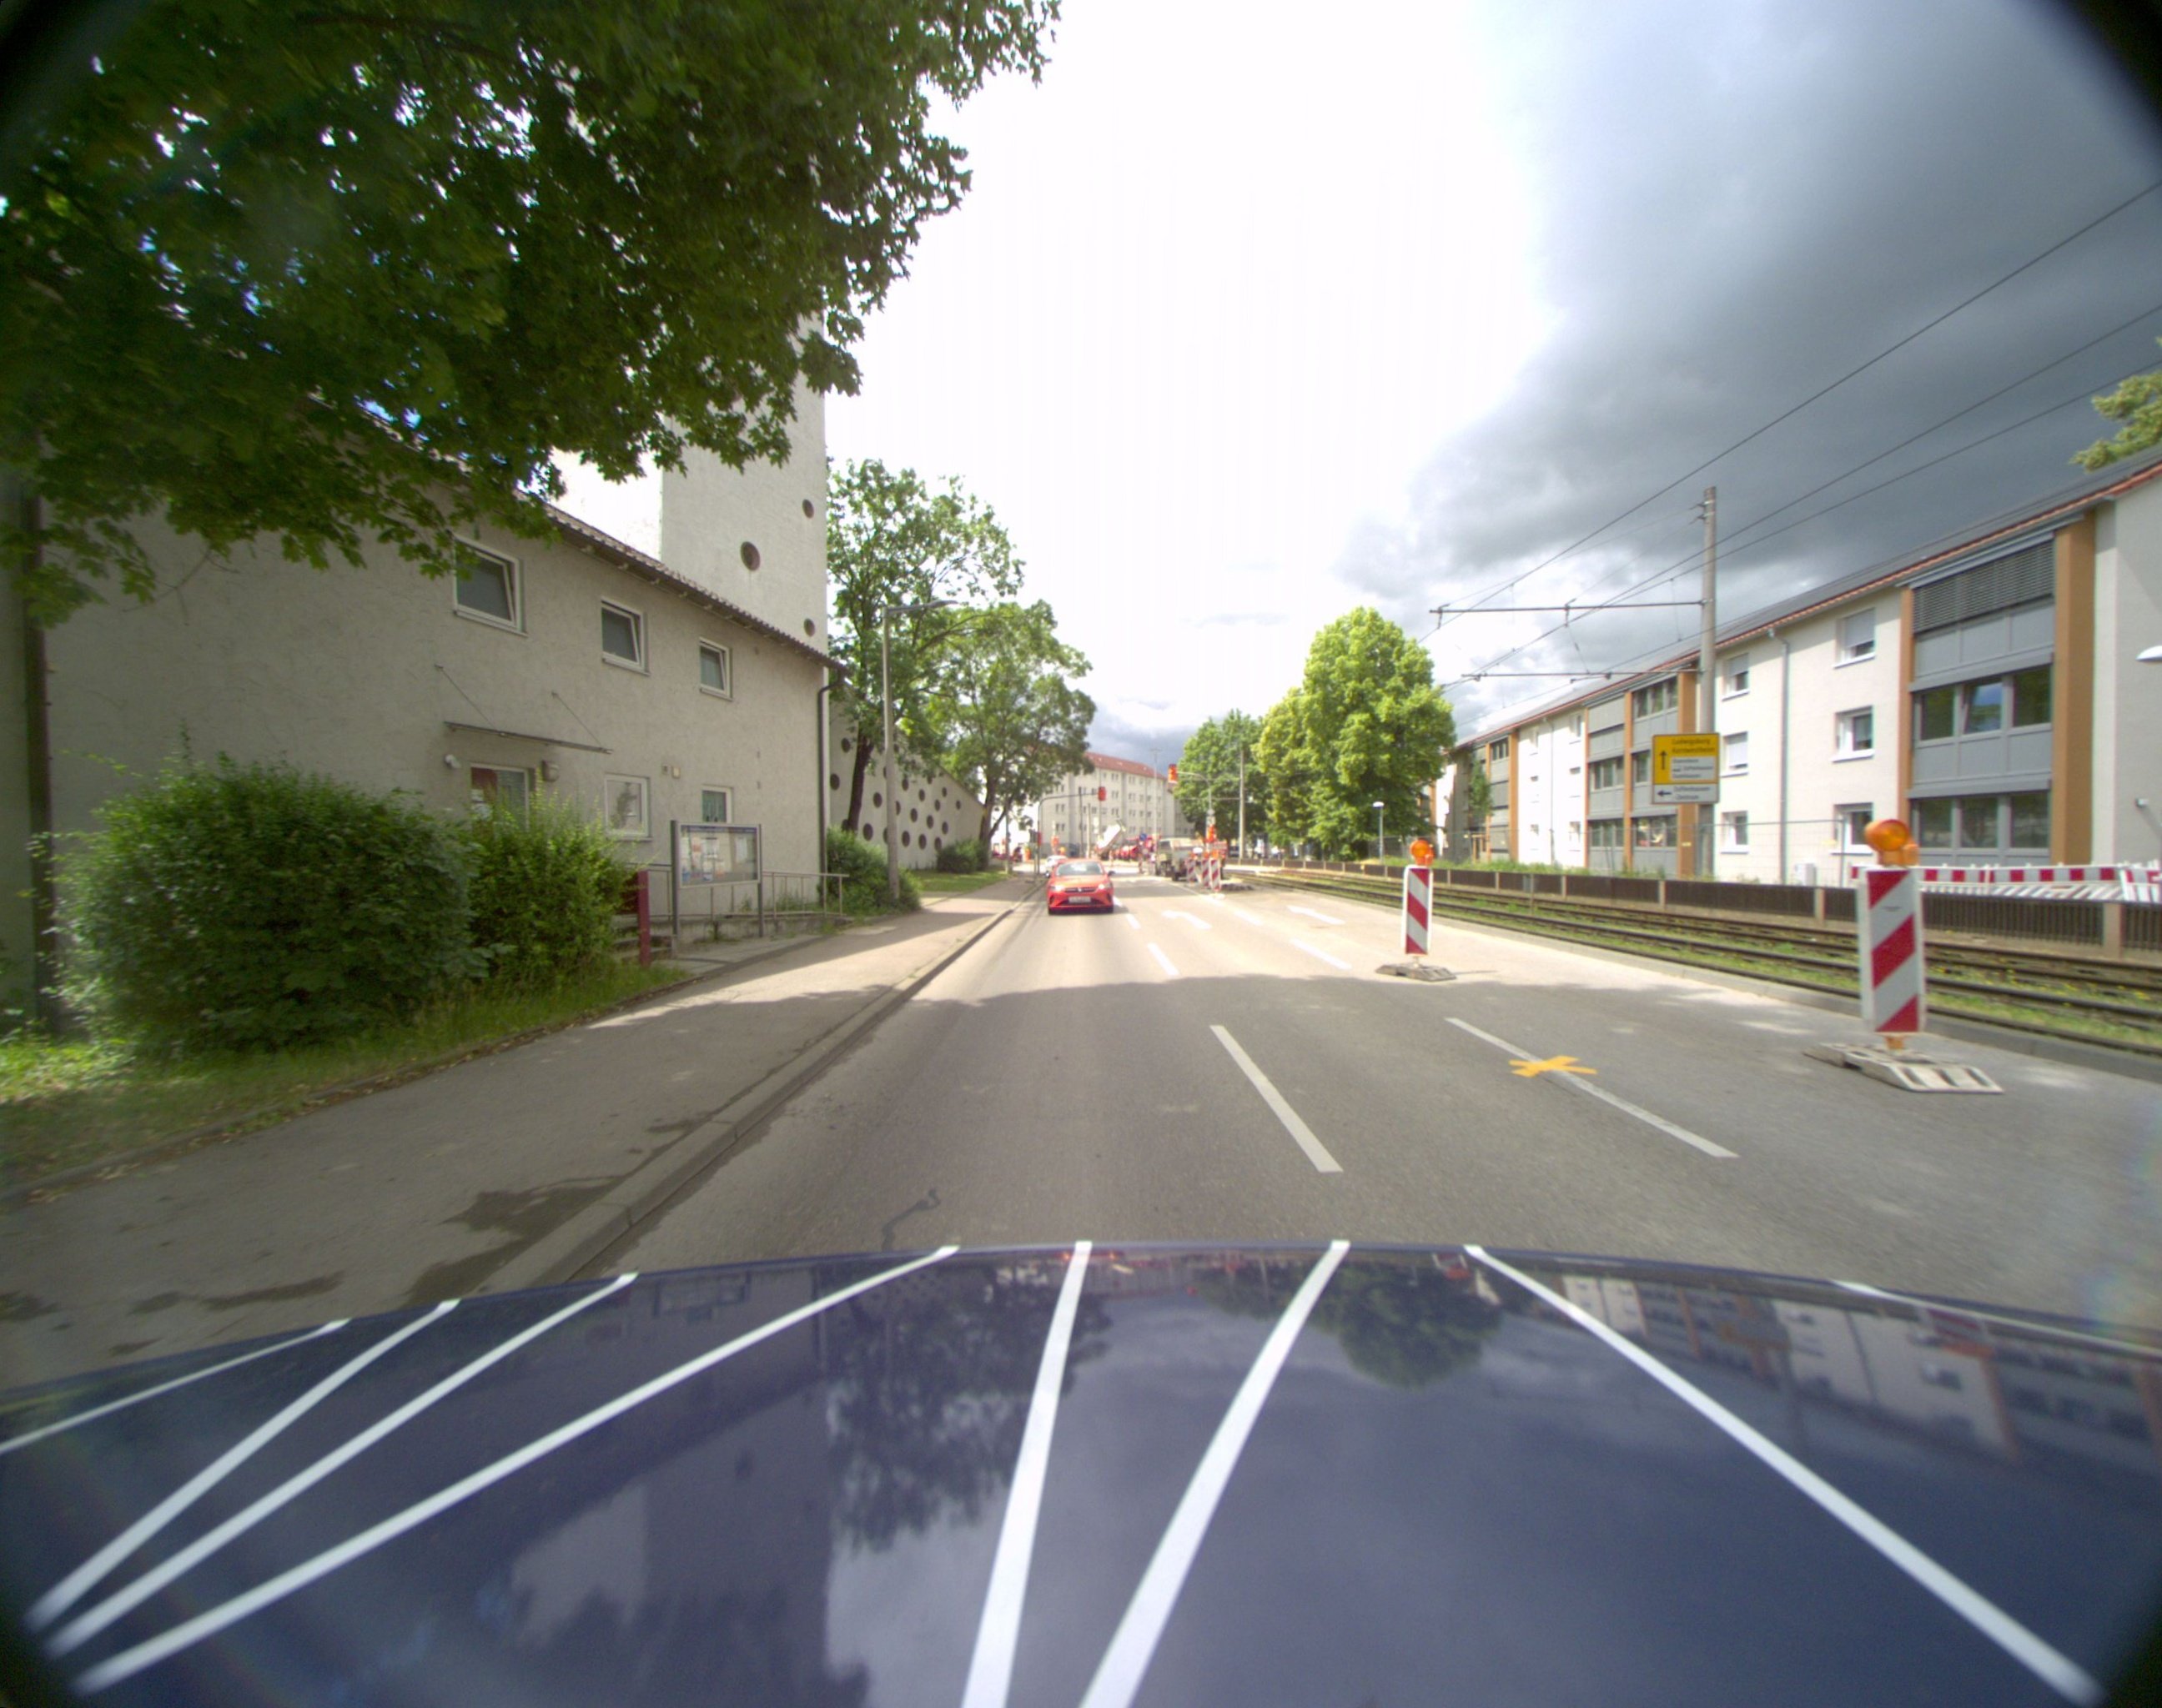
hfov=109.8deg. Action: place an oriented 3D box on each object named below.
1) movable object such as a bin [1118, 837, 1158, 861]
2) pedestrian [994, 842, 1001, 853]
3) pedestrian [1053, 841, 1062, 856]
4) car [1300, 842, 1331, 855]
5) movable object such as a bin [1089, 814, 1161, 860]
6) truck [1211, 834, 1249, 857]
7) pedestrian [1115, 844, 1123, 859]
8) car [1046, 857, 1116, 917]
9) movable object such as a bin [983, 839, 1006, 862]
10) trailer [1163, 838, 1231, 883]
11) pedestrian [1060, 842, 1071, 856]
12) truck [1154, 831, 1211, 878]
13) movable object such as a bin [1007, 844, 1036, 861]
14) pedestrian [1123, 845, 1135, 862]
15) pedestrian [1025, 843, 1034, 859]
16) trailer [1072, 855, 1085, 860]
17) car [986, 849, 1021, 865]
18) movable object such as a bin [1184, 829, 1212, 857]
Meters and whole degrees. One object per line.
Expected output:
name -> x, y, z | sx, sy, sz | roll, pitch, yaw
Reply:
movable object such as a bin -> 6.661, -0.634, 87.993 | 2.110, 2.654, 5.598 | 0, 2, 34
pedestrian -> -9.350, -0.744, 85.004 | 0.615, 1.209, 0.552 | 0, 1, 39
pedestrian -> -3.034, -0.739, 97.298 | 0.882, 1.897, 0.666 | -2, 2, -24
car -> 25.339, -0.581, 82.167 | 3.197, 1.446, 1.566 | 0, 1, 14
movable object such as a bin -> 5.466, -2.073, 93.948 | 9.052, 5.453, 2.814 | 0, 1, -34
truck -> 17.078, -1.000, 86.889 | 2.412, 2.553, 5.594 | 0, 1, 33
pedestrian -> 4.512, -0.288, 89.975 | 0.611, 1.778, 0.583 | -2, 0, 31
car -> 0.089, 0.863, 21.678 | 1.769, 1.425, 3.839 | -3, 1, 3
movable object such as a bin -> -9.765, -0.409, 85.861 | 2.355, 2.579, 1.323 | 0, 2, 39
trailer -> 6.266, 0.280, 41.901 | 2.669, 2.201, 6.246 | -2, 1, 0
pedestrian -> -1.981, -0.664, 96.482 | 0.872, 1.813, 1.098 | 0, 1, 28
truck -> 6.298, -0.029, 48.232 | 2.669, 2.709, 6.394 | -2, 1, 0
movable object such as a bin -> -7.269, -0.204, 92.575 | 2.959, 2.002, 2.004 | 0, 1, 37
pedestrian -> 5.243, -0.095, 82.726 | 0.798, 1.822, 0.969 | -3, 3, -41
pedestrian -> -6.170, -0.375, 91.568 | 0.767, 1.829, 0.785 | 0, 1, 26
trailer -> -0.310, 0.417, 92.964 | 0.799, 0.612, 1.593 | 0, 0, -38
car -> -8.347, 0.315, 81.663 | 1.852, 1.608, 4.231 | -3, 1, -35
movable object such as a bin -> 19.785, -1.782, 128.358 | 2.819, 4.509, 6.221 | 0, 0, 28
